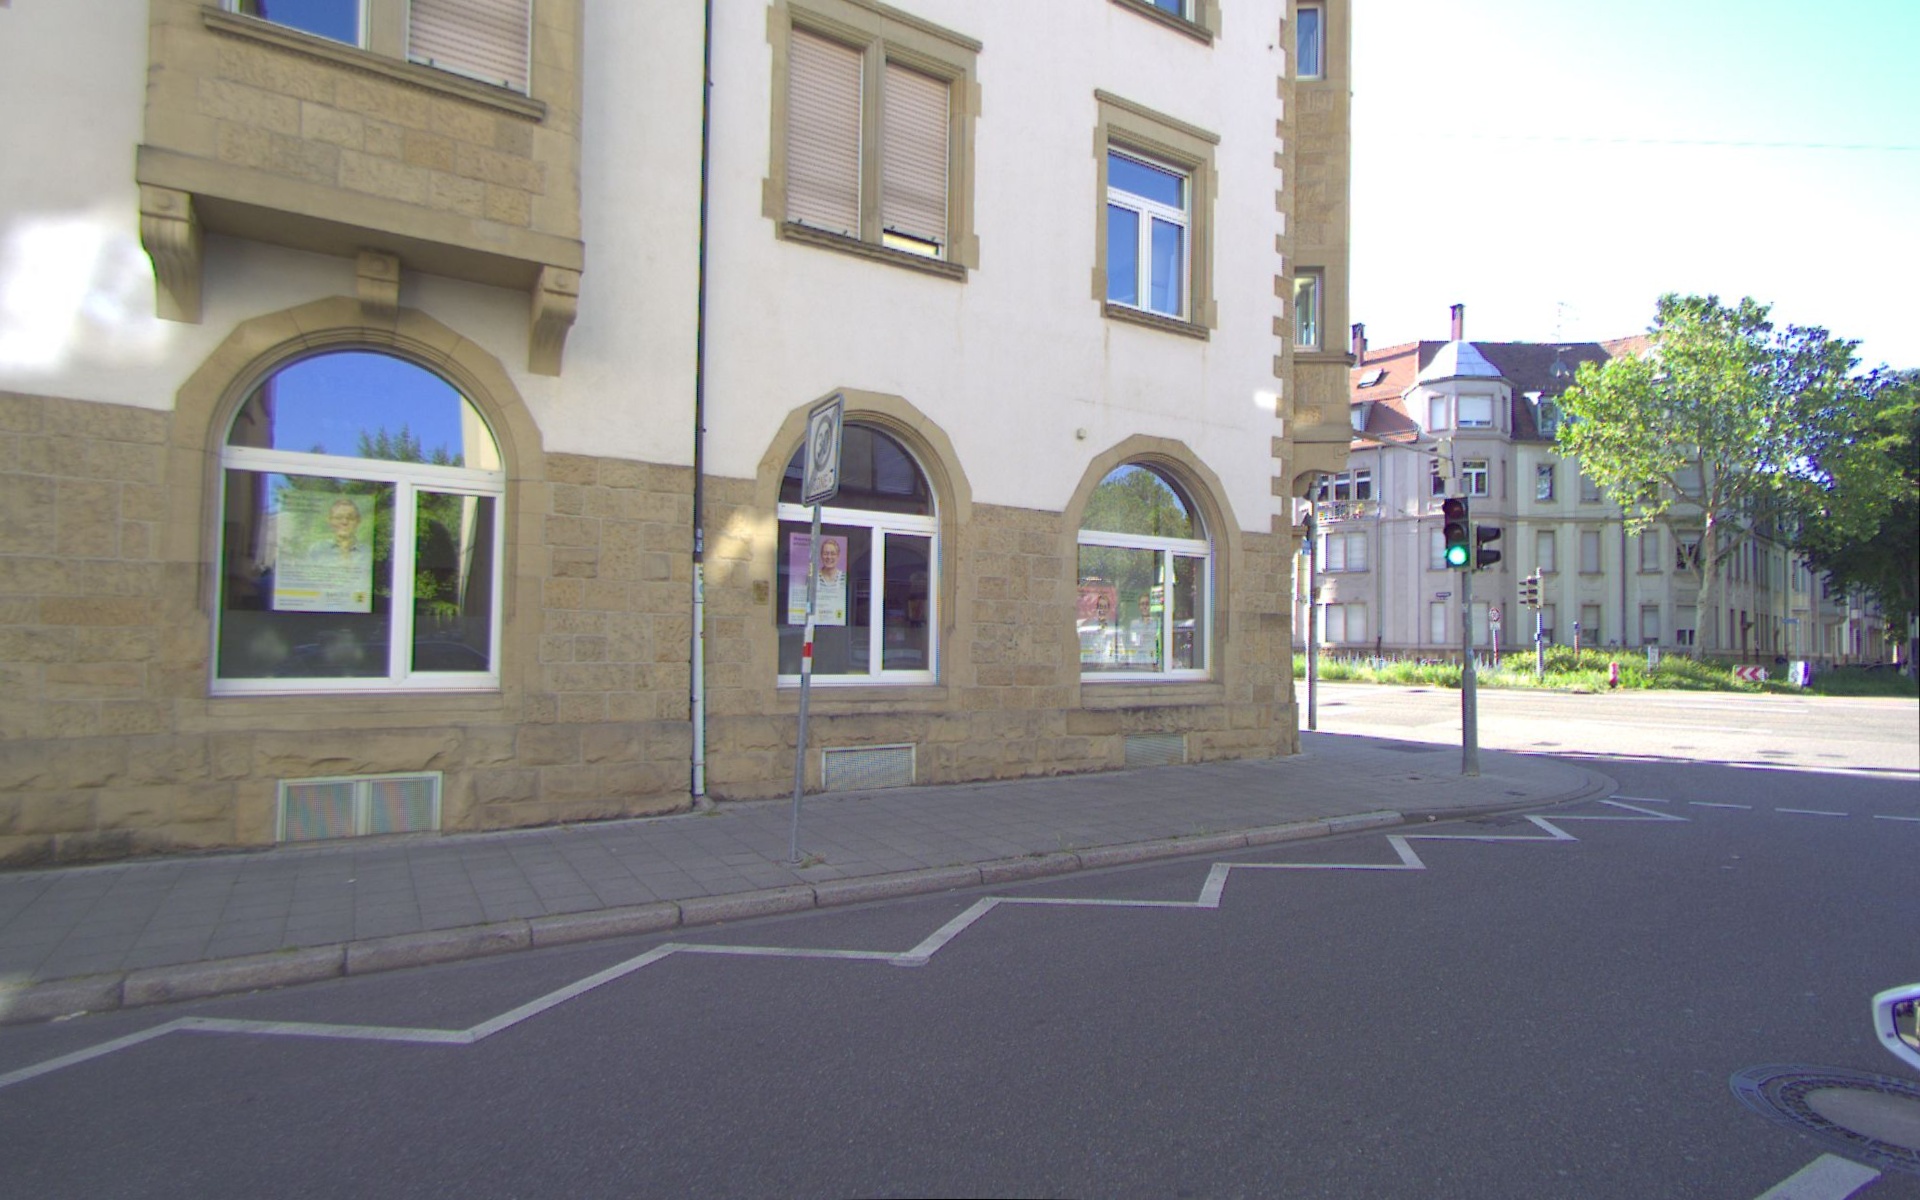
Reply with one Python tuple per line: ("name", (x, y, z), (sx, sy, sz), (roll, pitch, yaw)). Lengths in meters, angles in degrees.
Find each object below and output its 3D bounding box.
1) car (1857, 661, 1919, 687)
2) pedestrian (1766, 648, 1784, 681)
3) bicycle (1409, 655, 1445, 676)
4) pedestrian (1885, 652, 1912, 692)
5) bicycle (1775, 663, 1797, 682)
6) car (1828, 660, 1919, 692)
("car", (53.973, 4.220, 57.202), (1.691, 1.366, 4.173), (4, -4, -42))
("pedestrian", (41.398, 3.289, 51.031), (0.885, 1.680, 0.457), (3, -3, -35))
("bicycle", (21.740, 3.035, 46.783), (1.419, 0.916, 0.494), (-2, -3, 44))
("pedestrian", (40.894, 3.124, 43.767), (0.672, 1.704, 0.690), (2, -3, -32))
("bicycle", (41.587, 3.647, 50.561), (1.581, 0.923, 0.468), (3, -3, -36))
("car", (45.606, 3.734, 49.690), (1.604, 1.495, 3.847), (4, -5, -42))
